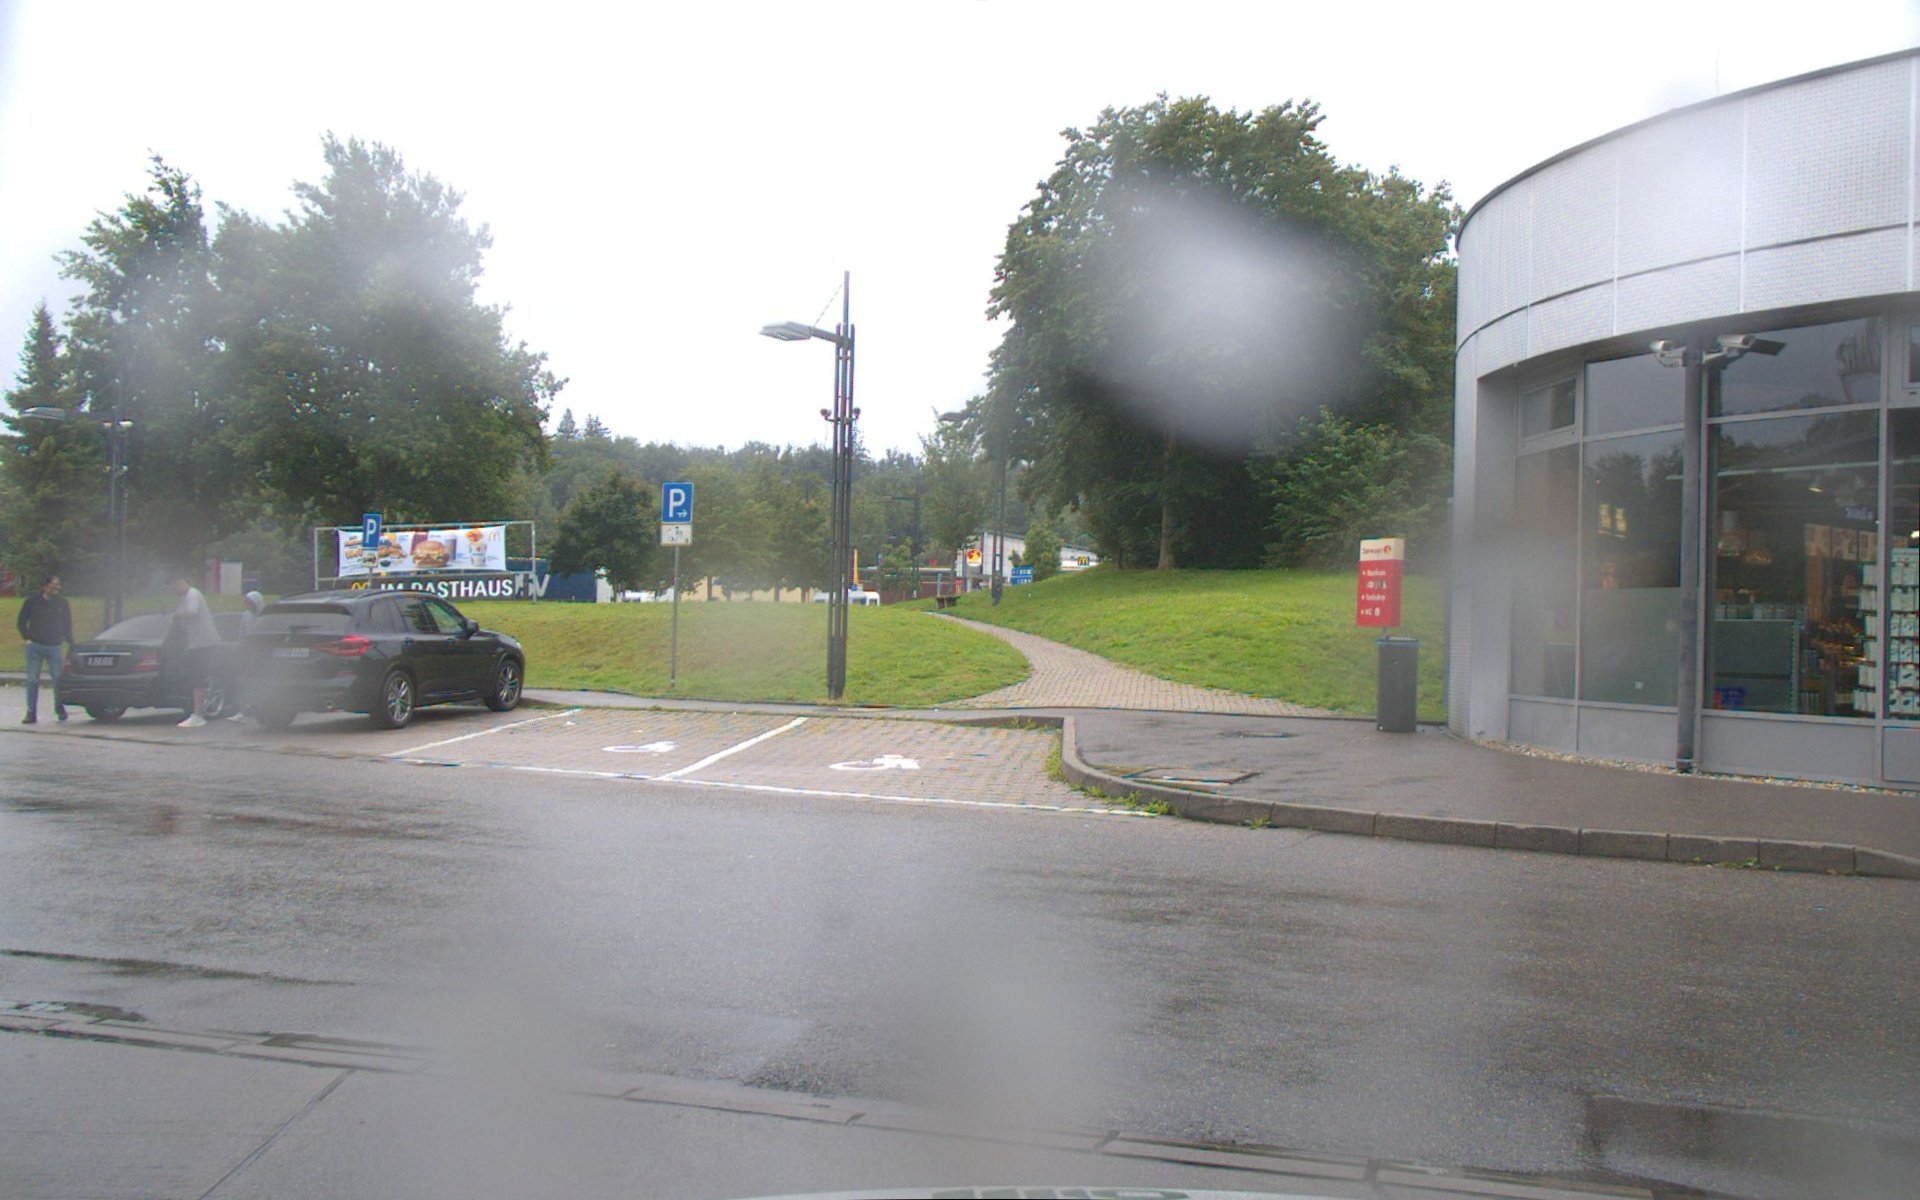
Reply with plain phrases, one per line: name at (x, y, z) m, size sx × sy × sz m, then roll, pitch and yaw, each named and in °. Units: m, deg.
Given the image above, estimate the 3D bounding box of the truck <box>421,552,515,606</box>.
truck at (-27.980, -1.165, 94.241) m, size 2.142 × 2.971 × 5.384 m, roll 1°, pitch 0°, yaw 24°

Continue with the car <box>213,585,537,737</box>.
car at (-7.363, 0.695, 21.359) m, size 1.973 × 1.741 × 4.347 m, roll -1°, pitch 1°, yaw 11°

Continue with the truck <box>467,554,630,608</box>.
truck at (-24.930, -1.082, 101.256) m, size 2.142 × 2.971 × 13.093 m, roll 1°, pitch 0°, yaw 23°

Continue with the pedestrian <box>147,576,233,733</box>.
pedestrian at (-9.662, 0.675, 20.785) m, size 0.688 × 1.920 × 0.952 m, roll 1°, pitch -1°, yaw -8°

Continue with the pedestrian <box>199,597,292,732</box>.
pedestrian at (-9.041, 0.796, 20.953) m, size 0.687 × 1.660 × 0.954 m, roll 1°, pitch -1°, yaw 4°

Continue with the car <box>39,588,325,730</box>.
car at (-10.570, 0.722, 22.877) m, size 1.976 × 1.741 × 4.342 m, roll -1°, pitch 1°, yaw -2°

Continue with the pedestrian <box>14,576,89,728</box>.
pedestrian at (-11.763, 0.666, 21.434) m, size 0.692 × 1.920 × 0.888 m, roll 1°, pitch -1°, yaw -21°

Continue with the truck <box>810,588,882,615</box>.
truck at (-9.234, 0.140, 133.654) m, size 5.298 × 2.049 × 2.366 m, roll 1°, pitch 0°, yaw 24°
